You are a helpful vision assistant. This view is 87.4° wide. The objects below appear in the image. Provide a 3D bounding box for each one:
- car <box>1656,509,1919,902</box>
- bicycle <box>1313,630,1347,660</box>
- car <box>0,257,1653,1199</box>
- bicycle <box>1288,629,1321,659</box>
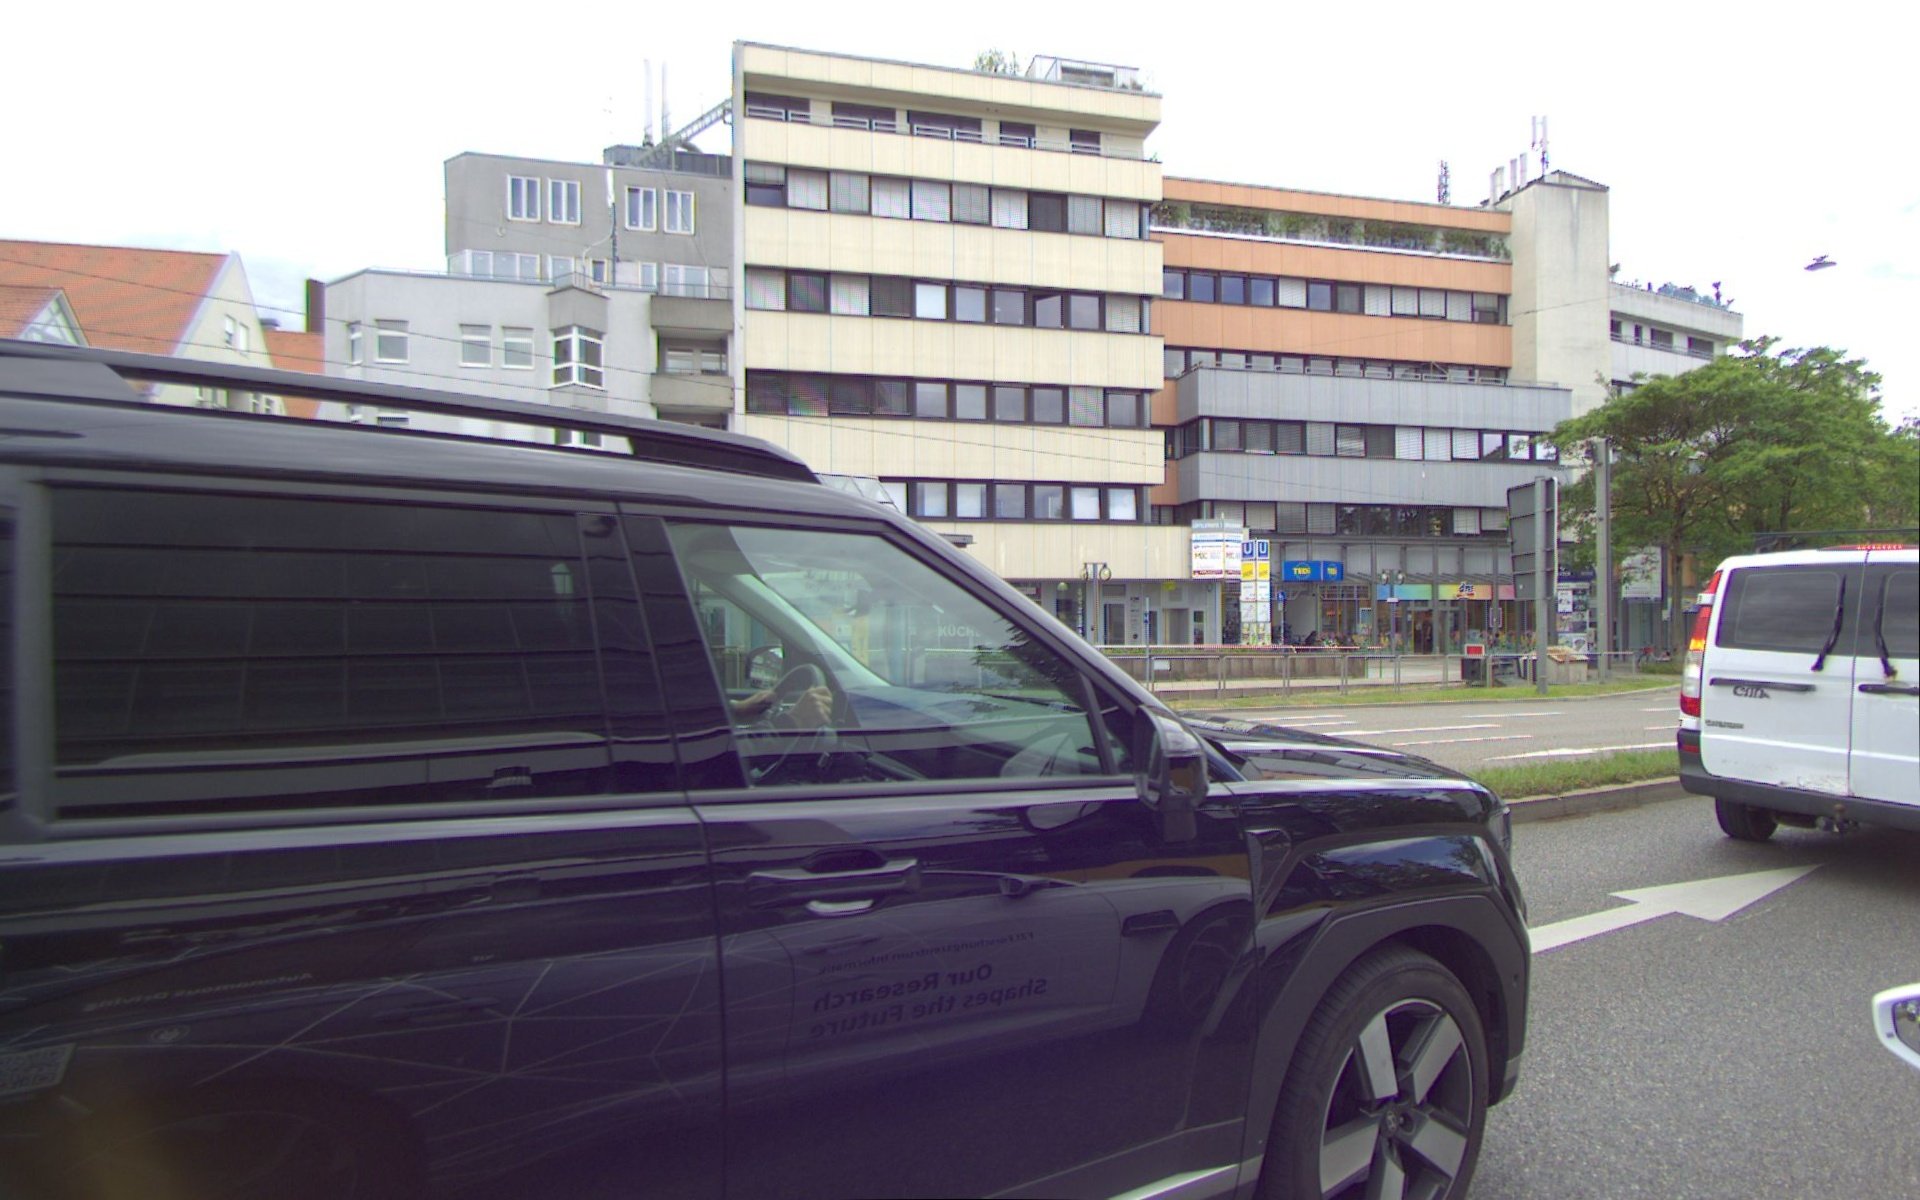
[{"bbox_3d":[6.984,0.573,6.751,5.017,2.041,1.864,1,1,-31],"label":"car"},{"bbox_3d":[16.846,2.053,45.817,0.692,1.336,1.973,1,-2,-5],"label":"bicycle"},{"bbox_3d":[-0.701,0.584,2.169,4.626,1.775,1.912,1,0,-32],"label":"car"},{"bbox_3d":[15.739,2.009,45.955,0.692,1.336,1.973,1,-2,-5],"label":"bicycle"}]
